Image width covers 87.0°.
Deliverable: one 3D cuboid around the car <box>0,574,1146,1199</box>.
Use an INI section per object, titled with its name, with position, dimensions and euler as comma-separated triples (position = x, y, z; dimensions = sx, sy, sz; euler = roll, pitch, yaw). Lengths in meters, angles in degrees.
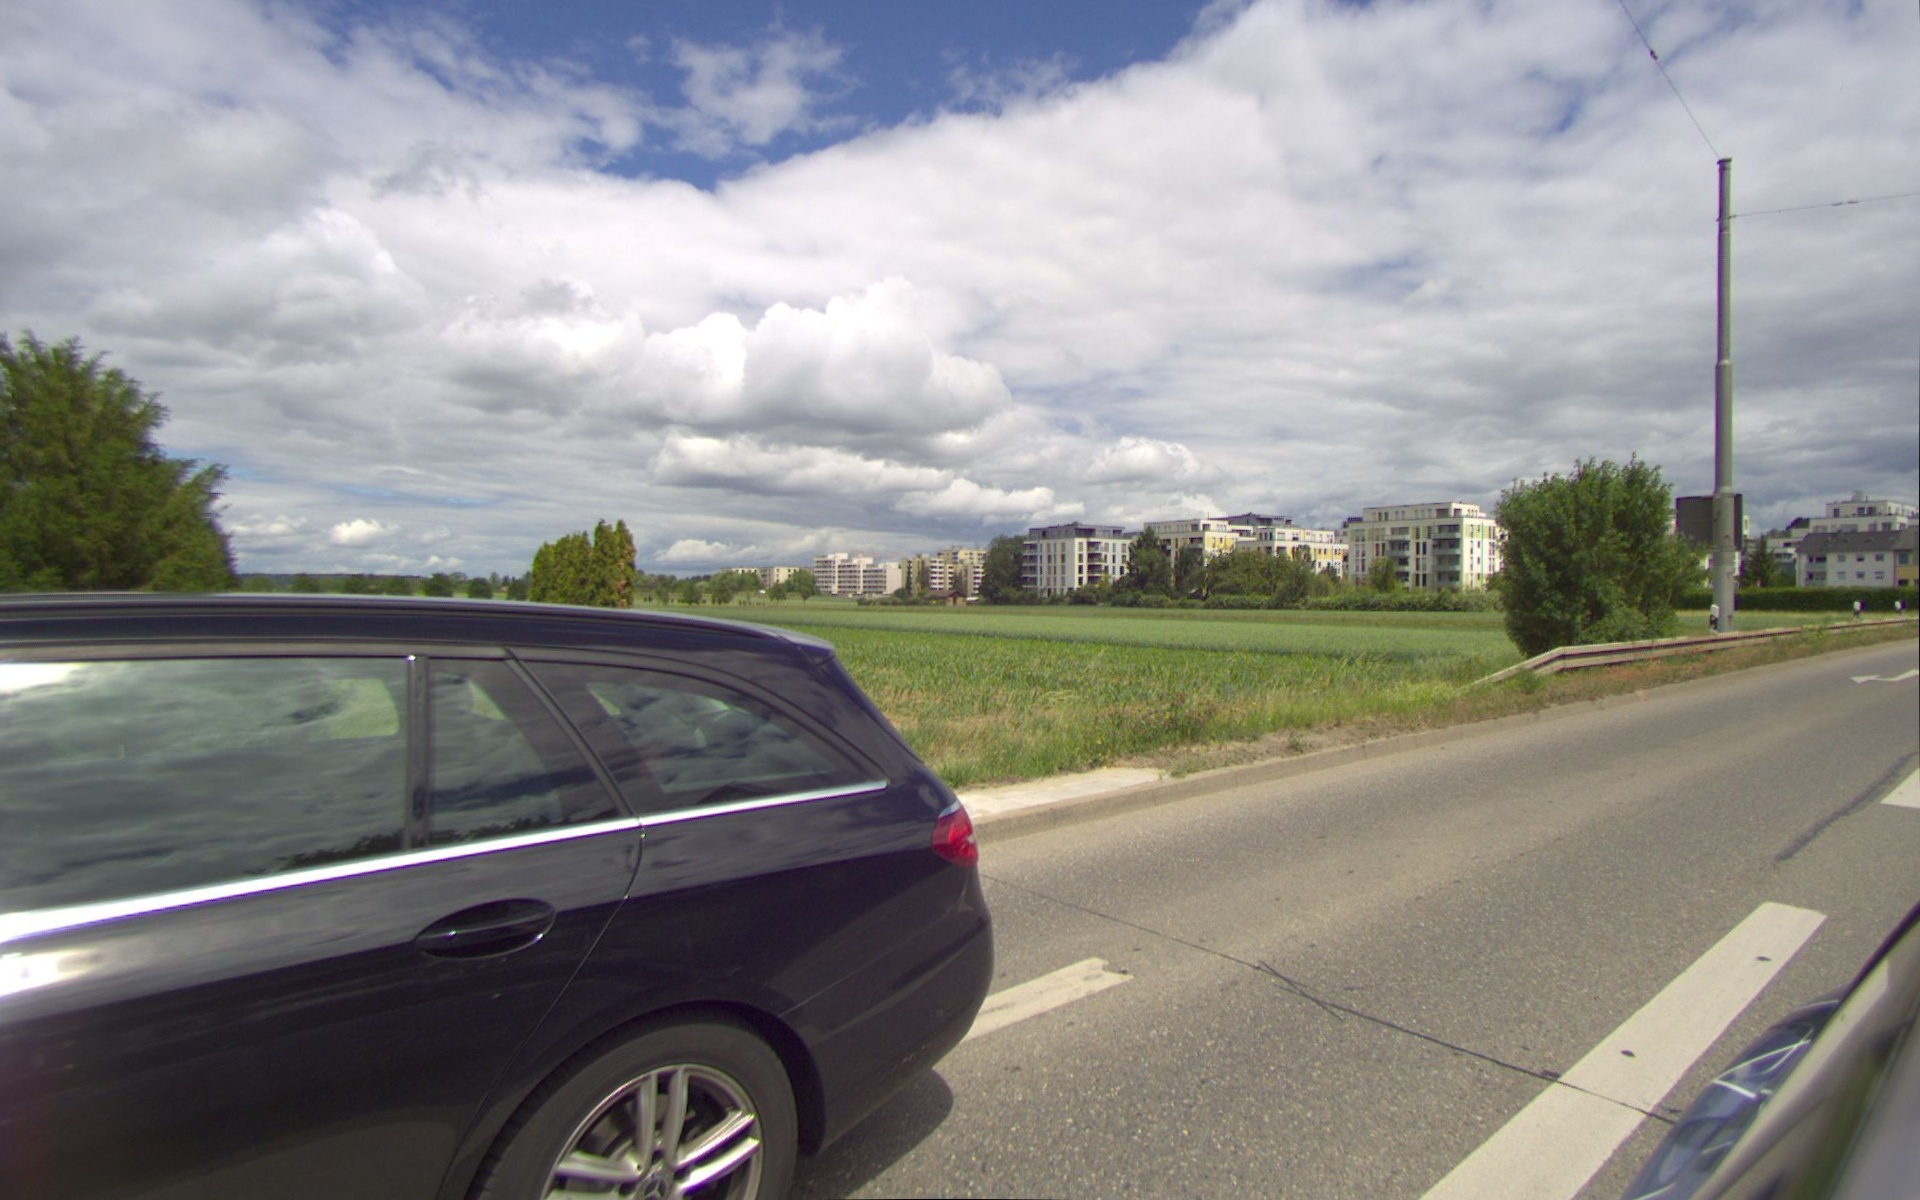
[car]
position = -2.014, 0.687, 1.863
dimensions = 5.109, 1.459, 1.876
euler = 0, 1, -41
